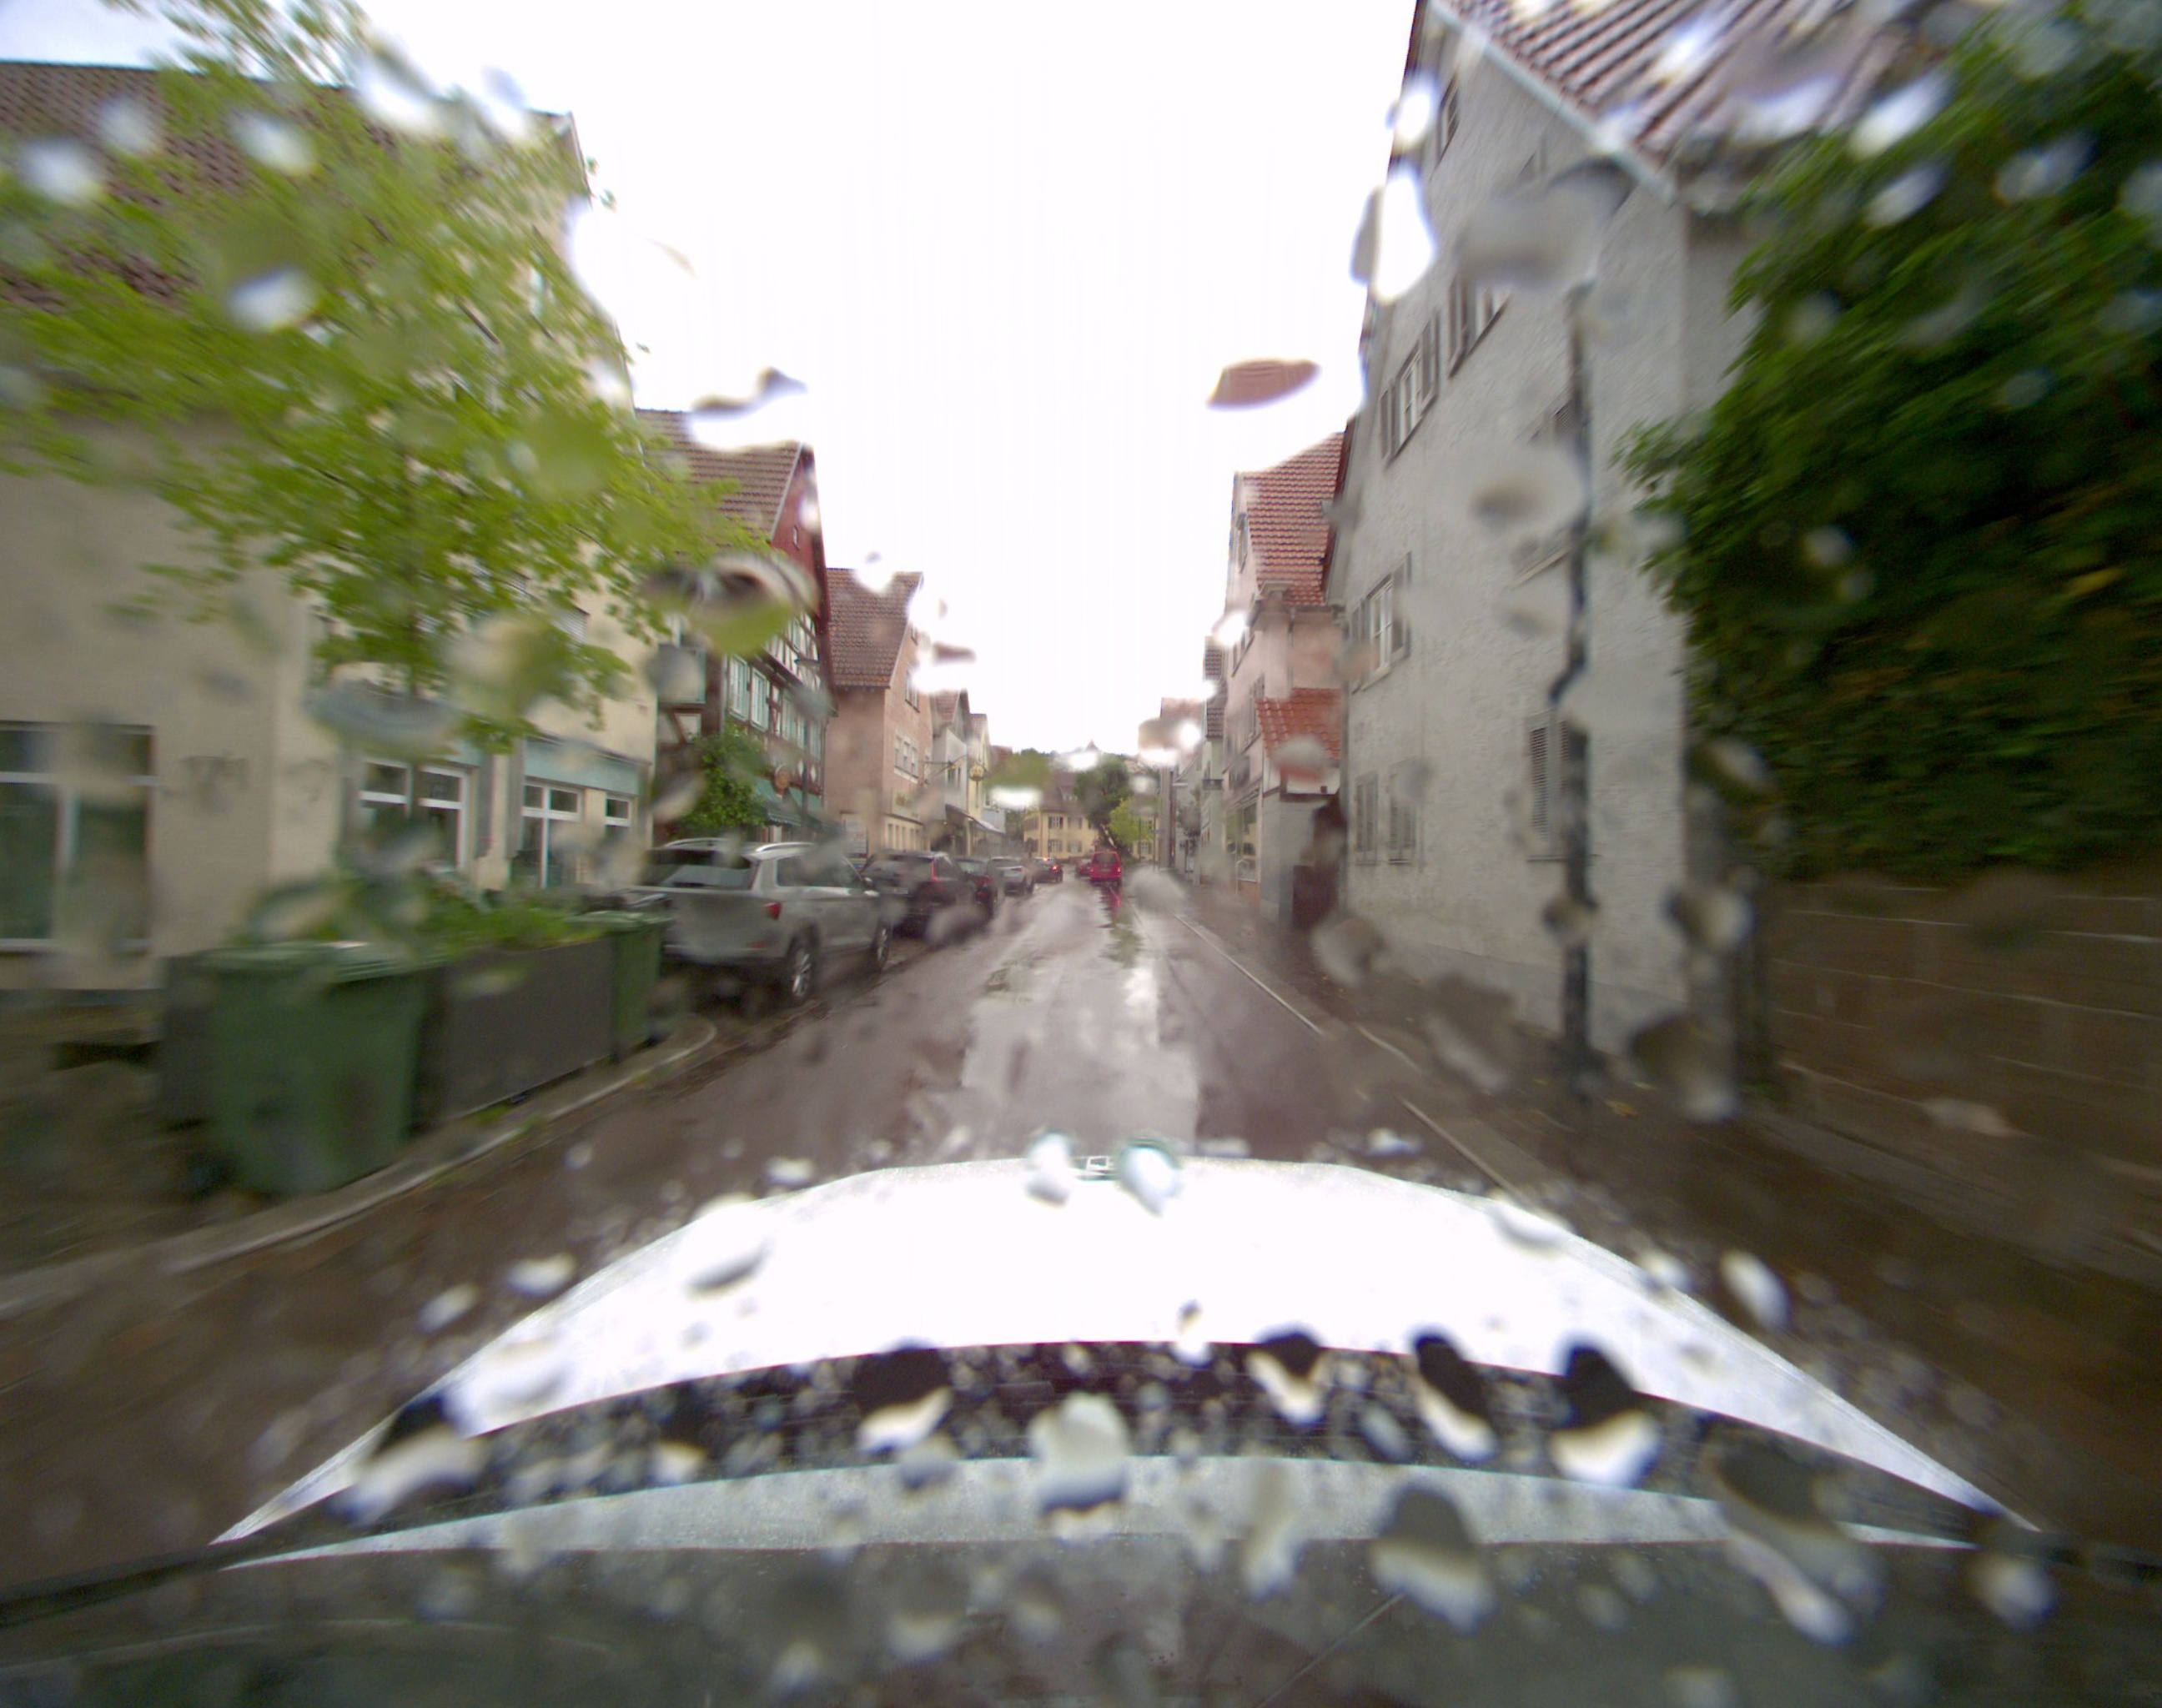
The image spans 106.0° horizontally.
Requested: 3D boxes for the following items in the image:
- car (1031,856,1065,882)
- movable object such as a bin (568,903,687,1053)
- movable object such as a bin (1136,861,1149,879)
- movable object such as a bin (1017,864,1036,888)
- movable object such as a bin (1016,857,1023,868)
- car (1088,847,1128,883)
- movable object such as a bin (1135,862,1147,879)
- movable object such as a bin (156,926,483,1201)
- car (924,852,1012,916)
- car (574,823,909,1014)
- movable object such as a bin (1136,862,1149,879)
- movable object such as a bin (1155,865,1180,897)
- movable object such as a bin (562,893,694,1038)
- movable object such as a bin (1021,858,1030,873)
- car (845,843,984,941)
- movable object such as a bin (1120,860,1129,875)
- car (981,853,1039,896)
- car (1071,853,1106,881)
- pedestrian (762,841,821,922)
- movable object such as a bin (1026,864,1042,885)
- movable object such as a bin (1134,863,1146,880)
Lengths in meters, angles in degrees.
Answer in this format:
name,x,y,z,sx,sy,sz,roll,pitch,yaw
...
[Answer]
name,x,y,z,sx,sy,sz,roll,pitch,yaw
car,-1.989,0.902,49.893,1.685,1.443,3.887,2,0,2
movable object such as a bin,-3.401,0.910,6.150,0.550,1.046,0.534,2,-2,-2
movable object such as a bin,3.818,1.017,50.377,0.765,1.080,0.599,2,-2,2
movable object such as a bin,-2.589,1.031,38.626,0.783,1.084,0.694,2,0,4
movable object such as a bin,-6.451,0.871,85.576,0.714,1.106,0.598,2,-2,-9
car,1.550,0.578,45.315,1.885,1.811,4.007,3,1,6
movable object such as a bin,3.815,1.044,51.593,0.726,1.091,0.521,2,-2,2
movable object such as a bin,-3.467,0.910,3.793,0.744,1.083,0.744,2,-2,-1
car,-3.022,0.746,22.708,1.774,1.538,4.290,1,1,0
car,-3.571,0.653,9.718,1.817,1.666,4.644,2,-2,2
movable object such as a bin,3.839,1.028,51.010,0.751,1.064,0.600,2,-2,2
movable object such as a bin,3.034,0.948,28.679,0.790,1.081,0.614,1,-2,-2
movable object such as a bin,-3.758,0.897,6.812,0.614,1.102,0.780,2,-2,-2
movable object such as a bin,-4.511,0.932,65.997,0.725,1.110,0.595,2,-2,-6
car,-3.236,0.652,16.830,1.818,1.666,4.643,2,1,0
movable object such as a bin,3.473,1.070,65.083,0.630,1.150,0.578,2,-2,-6
car,-2.850,0.783,33.468,1.684,1.538,4.125,2,1,3
car,0.487,0.922,56.662,1.991,1.799,3.992,2,-2,-6
pedestrian,-6.296,0.600,17.758,0.786,1.682,1.176,2,-2,-1
movable object such as a bin,-2.371,1.046,41.127,0.706,1.052,0.704,2,-2,2
movable object such as a bin,3.799,1.133,52.229,0.733,1.098,0.611,2,-2,1
